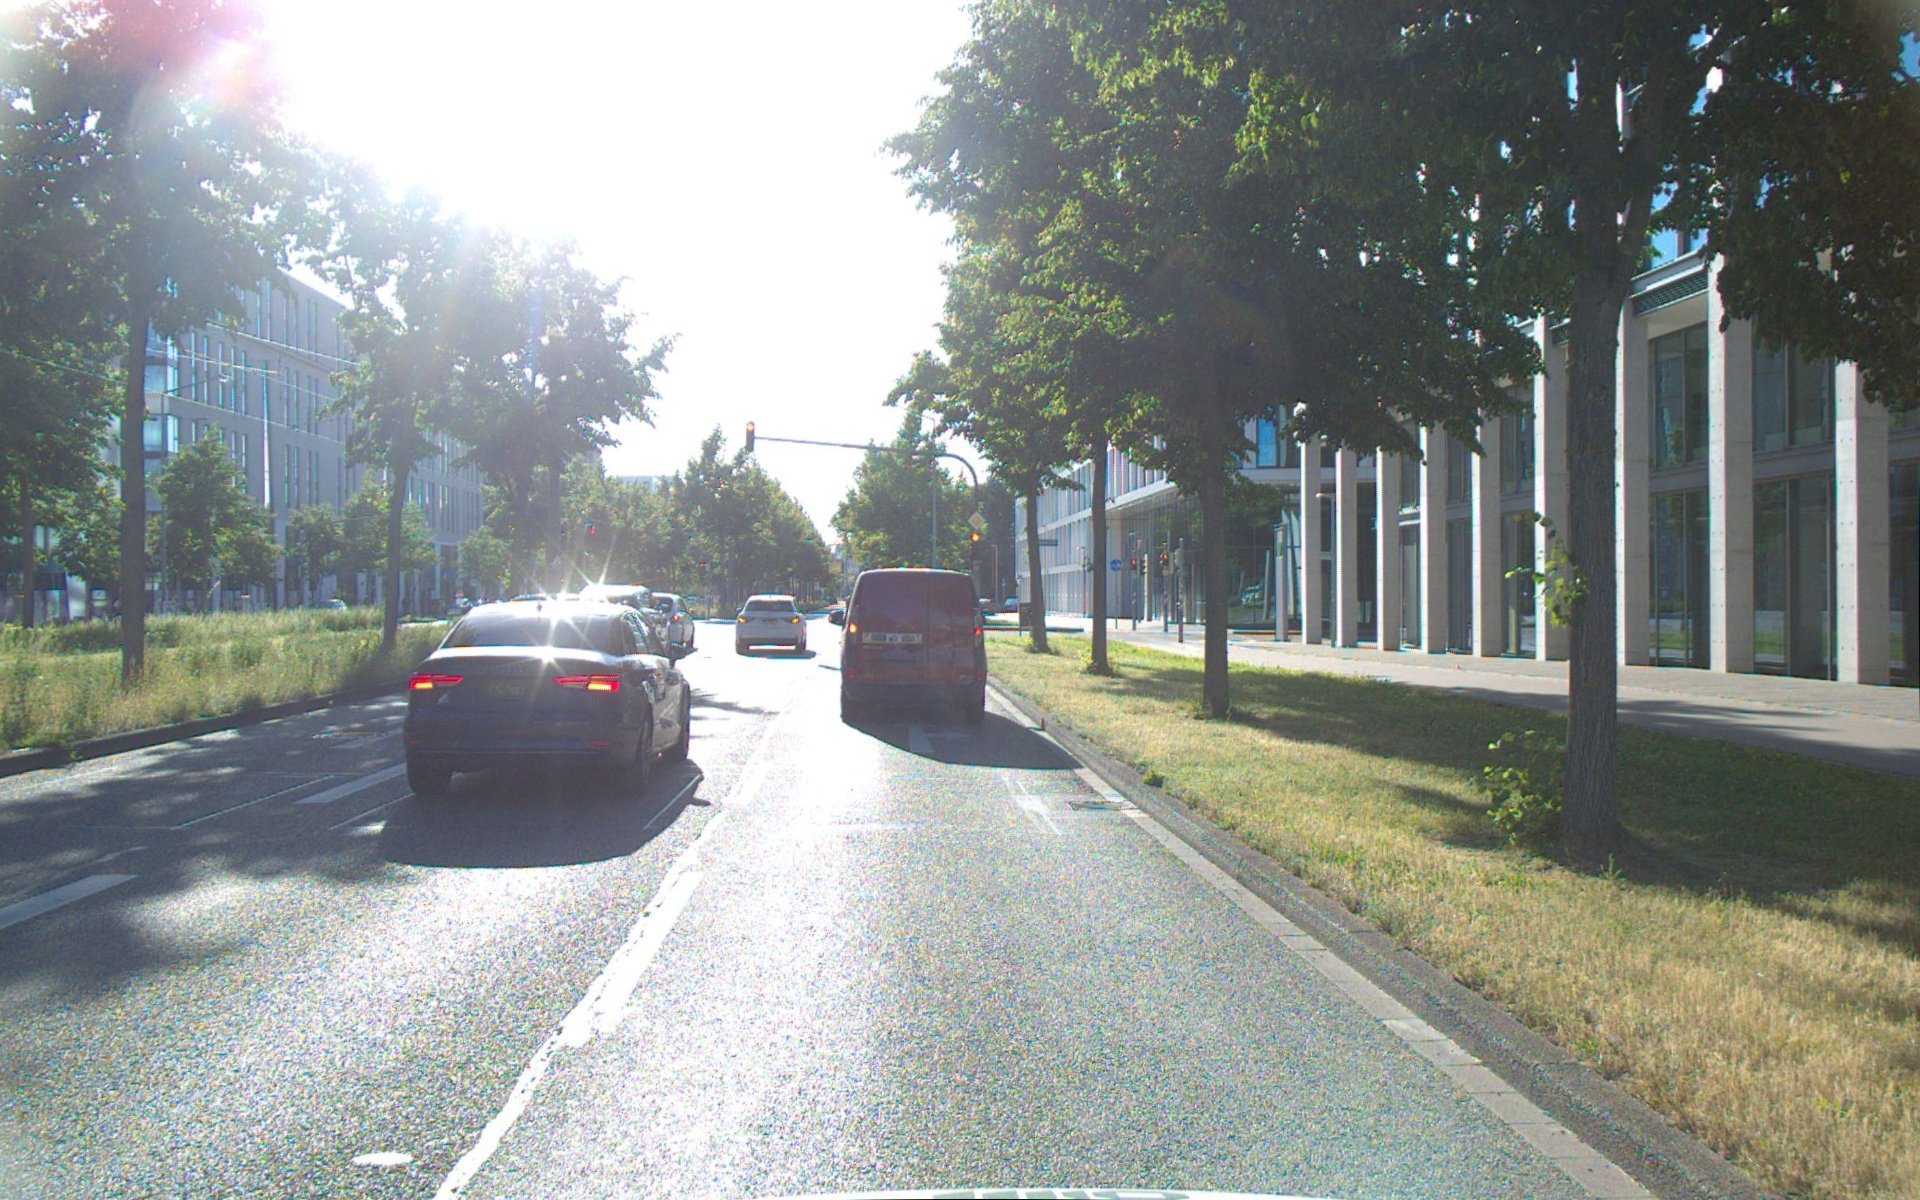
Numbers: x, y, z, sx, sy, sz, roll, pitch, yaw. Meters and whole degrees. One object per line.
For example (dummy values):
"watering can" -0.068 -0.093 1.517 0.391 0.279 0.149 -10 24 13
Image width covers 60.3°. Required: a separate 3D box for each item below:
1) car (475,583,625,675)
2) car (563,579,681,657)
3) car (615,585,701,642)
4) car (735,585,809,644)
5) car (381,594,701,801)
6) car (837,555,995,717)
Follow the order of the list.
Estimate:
"car" -7.001 0.454 28.628 1.904 1.466 3.996 0 0 -5
"car" -7.112 0.344 35.133 1.805 1.561 3.938 0 0 -2
"car" -7.831 0.321 43.213 1.681 1.422 3.998 0 0 -3
"car" -4.791 0.341 42.557 1.687 1.450 3.814 0 0 -3
"car" -3.159 0.658 13.274 1.686 1.390 4.143 1 0 -3
"car" -0.565 0.370 20.975 1.761 1.807 3.999 2 1 -2
